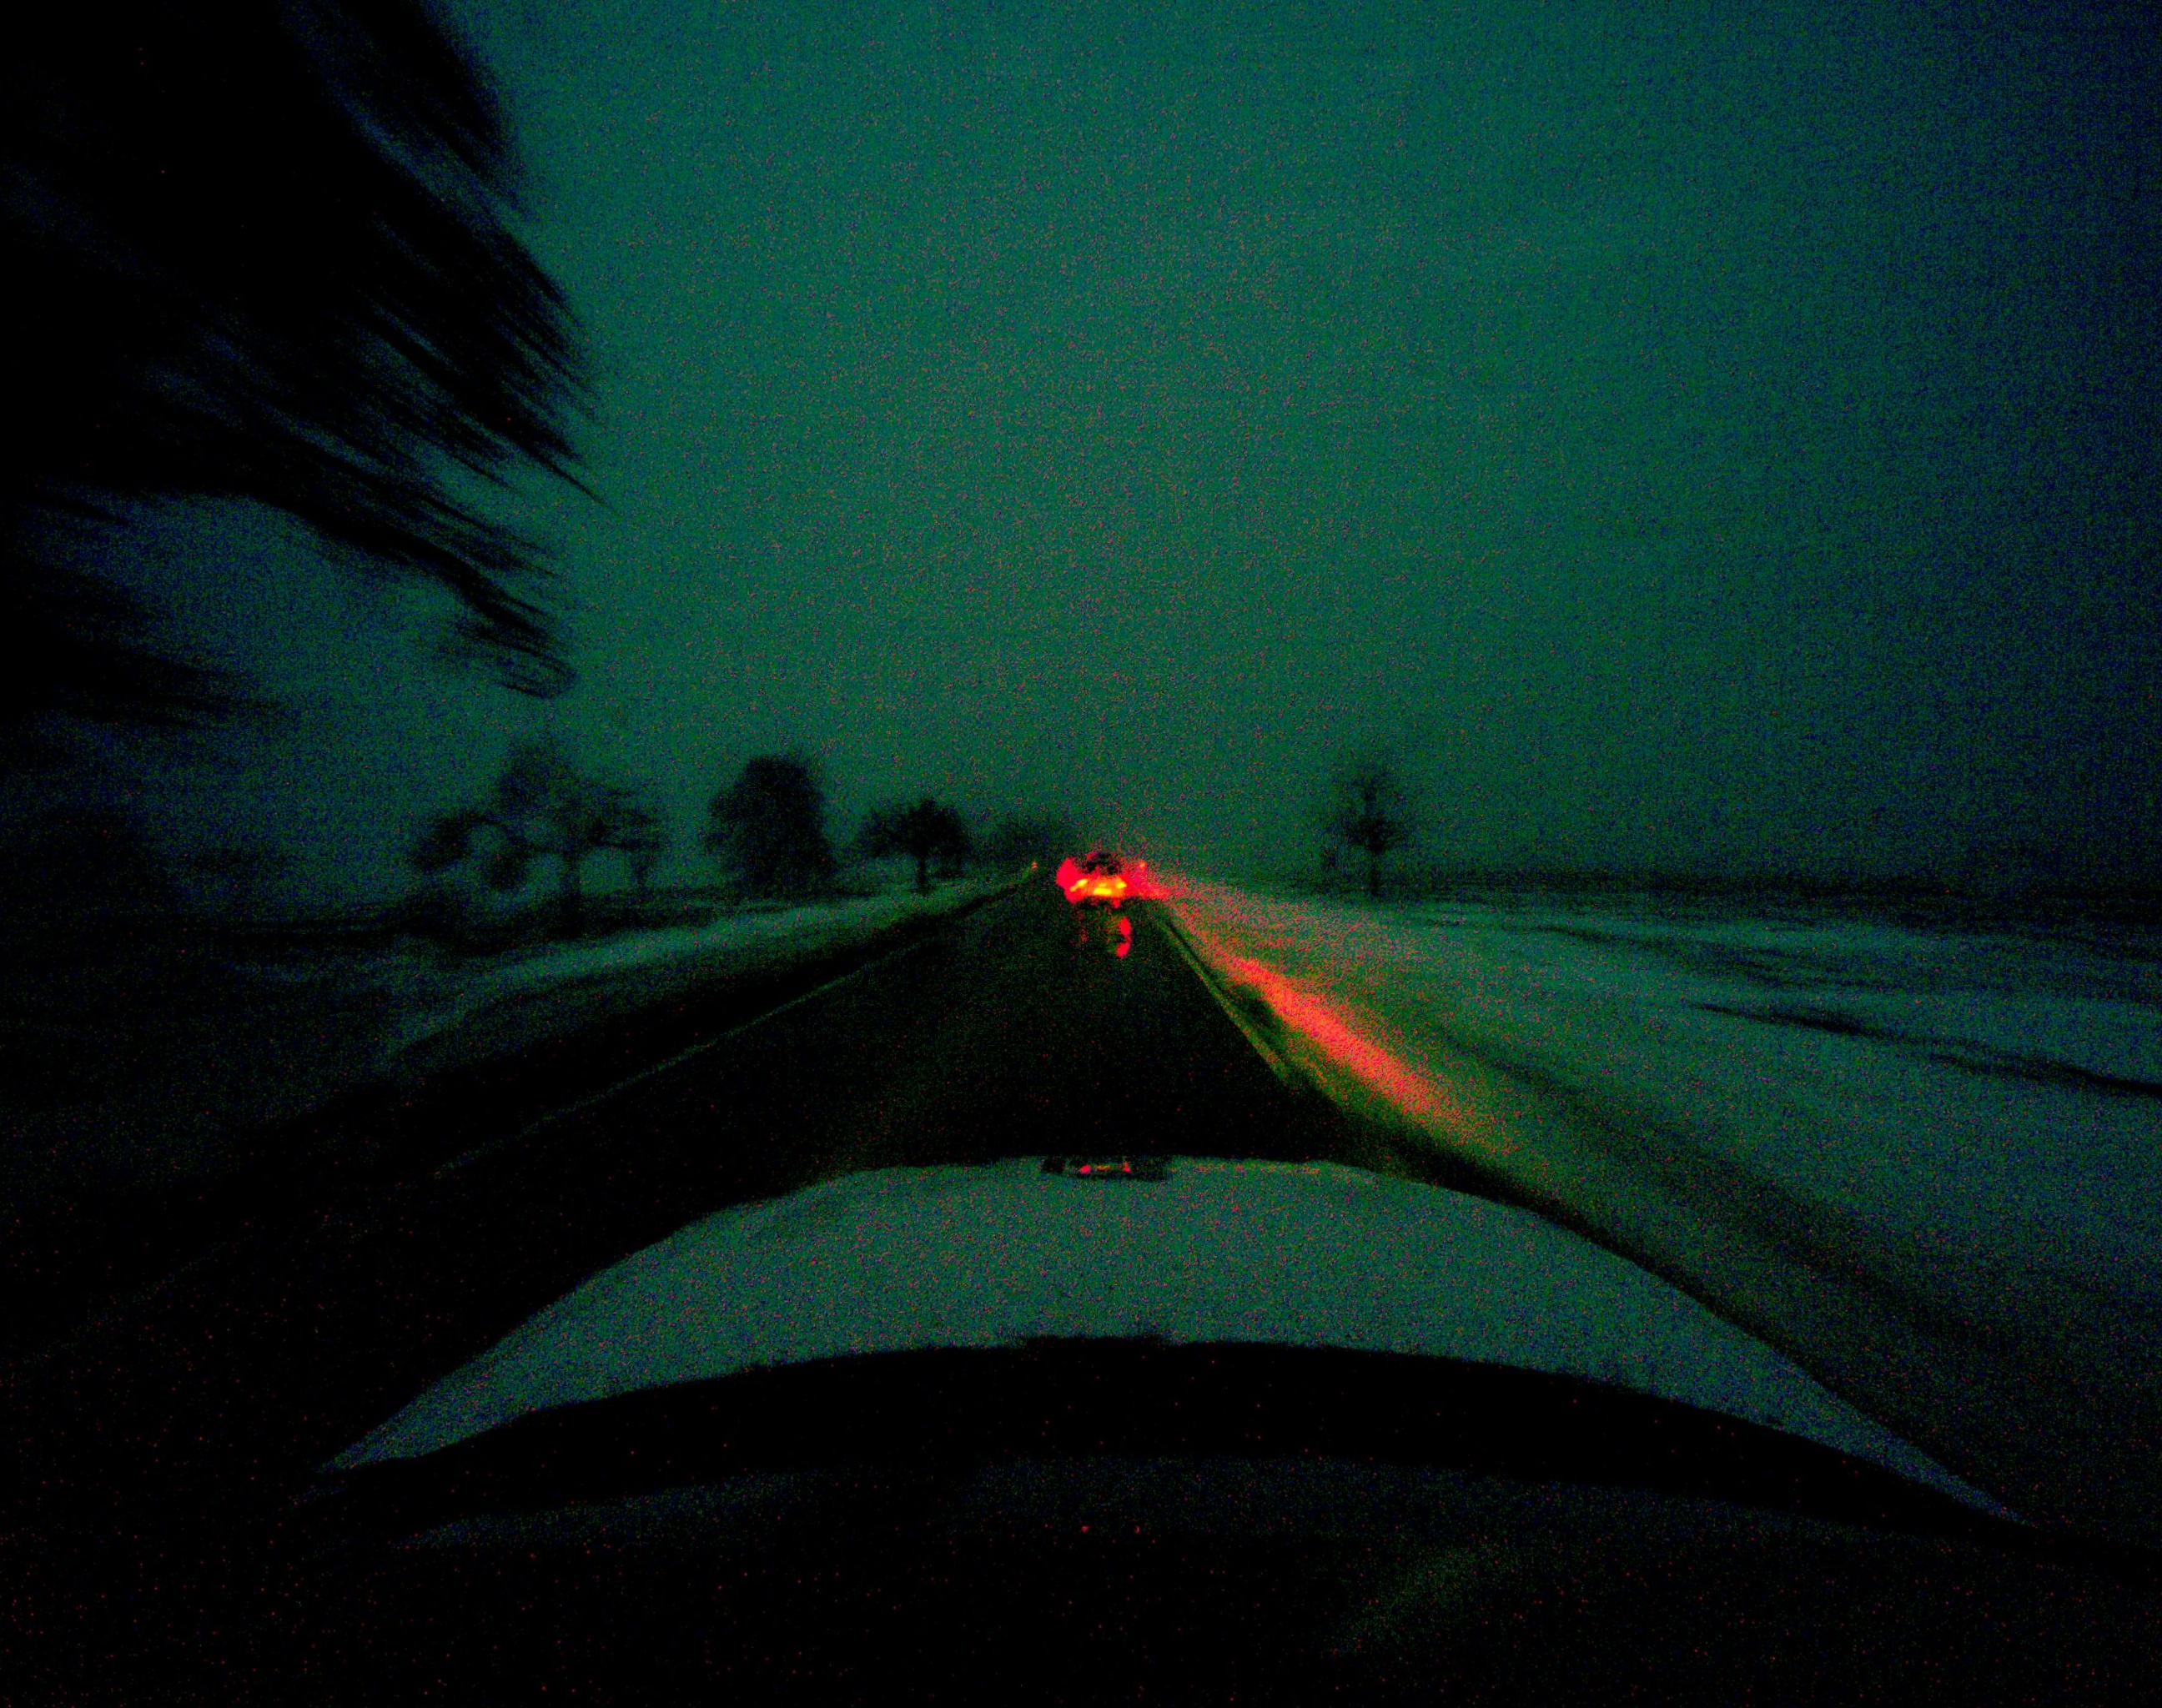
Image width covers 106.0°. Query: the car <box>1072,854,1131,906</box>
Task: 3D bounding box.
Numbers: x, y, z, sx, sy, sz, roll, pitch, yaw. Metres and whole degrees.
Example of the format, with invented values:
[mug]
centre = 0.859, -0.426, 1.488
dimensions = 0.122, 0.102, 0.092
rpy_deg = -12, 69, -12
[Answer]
[car]
centre = 0.660, 0.769, 25.347
dimensions = 1.700, 1.463, 4.002
rpy_deg = 1, -1, 2
